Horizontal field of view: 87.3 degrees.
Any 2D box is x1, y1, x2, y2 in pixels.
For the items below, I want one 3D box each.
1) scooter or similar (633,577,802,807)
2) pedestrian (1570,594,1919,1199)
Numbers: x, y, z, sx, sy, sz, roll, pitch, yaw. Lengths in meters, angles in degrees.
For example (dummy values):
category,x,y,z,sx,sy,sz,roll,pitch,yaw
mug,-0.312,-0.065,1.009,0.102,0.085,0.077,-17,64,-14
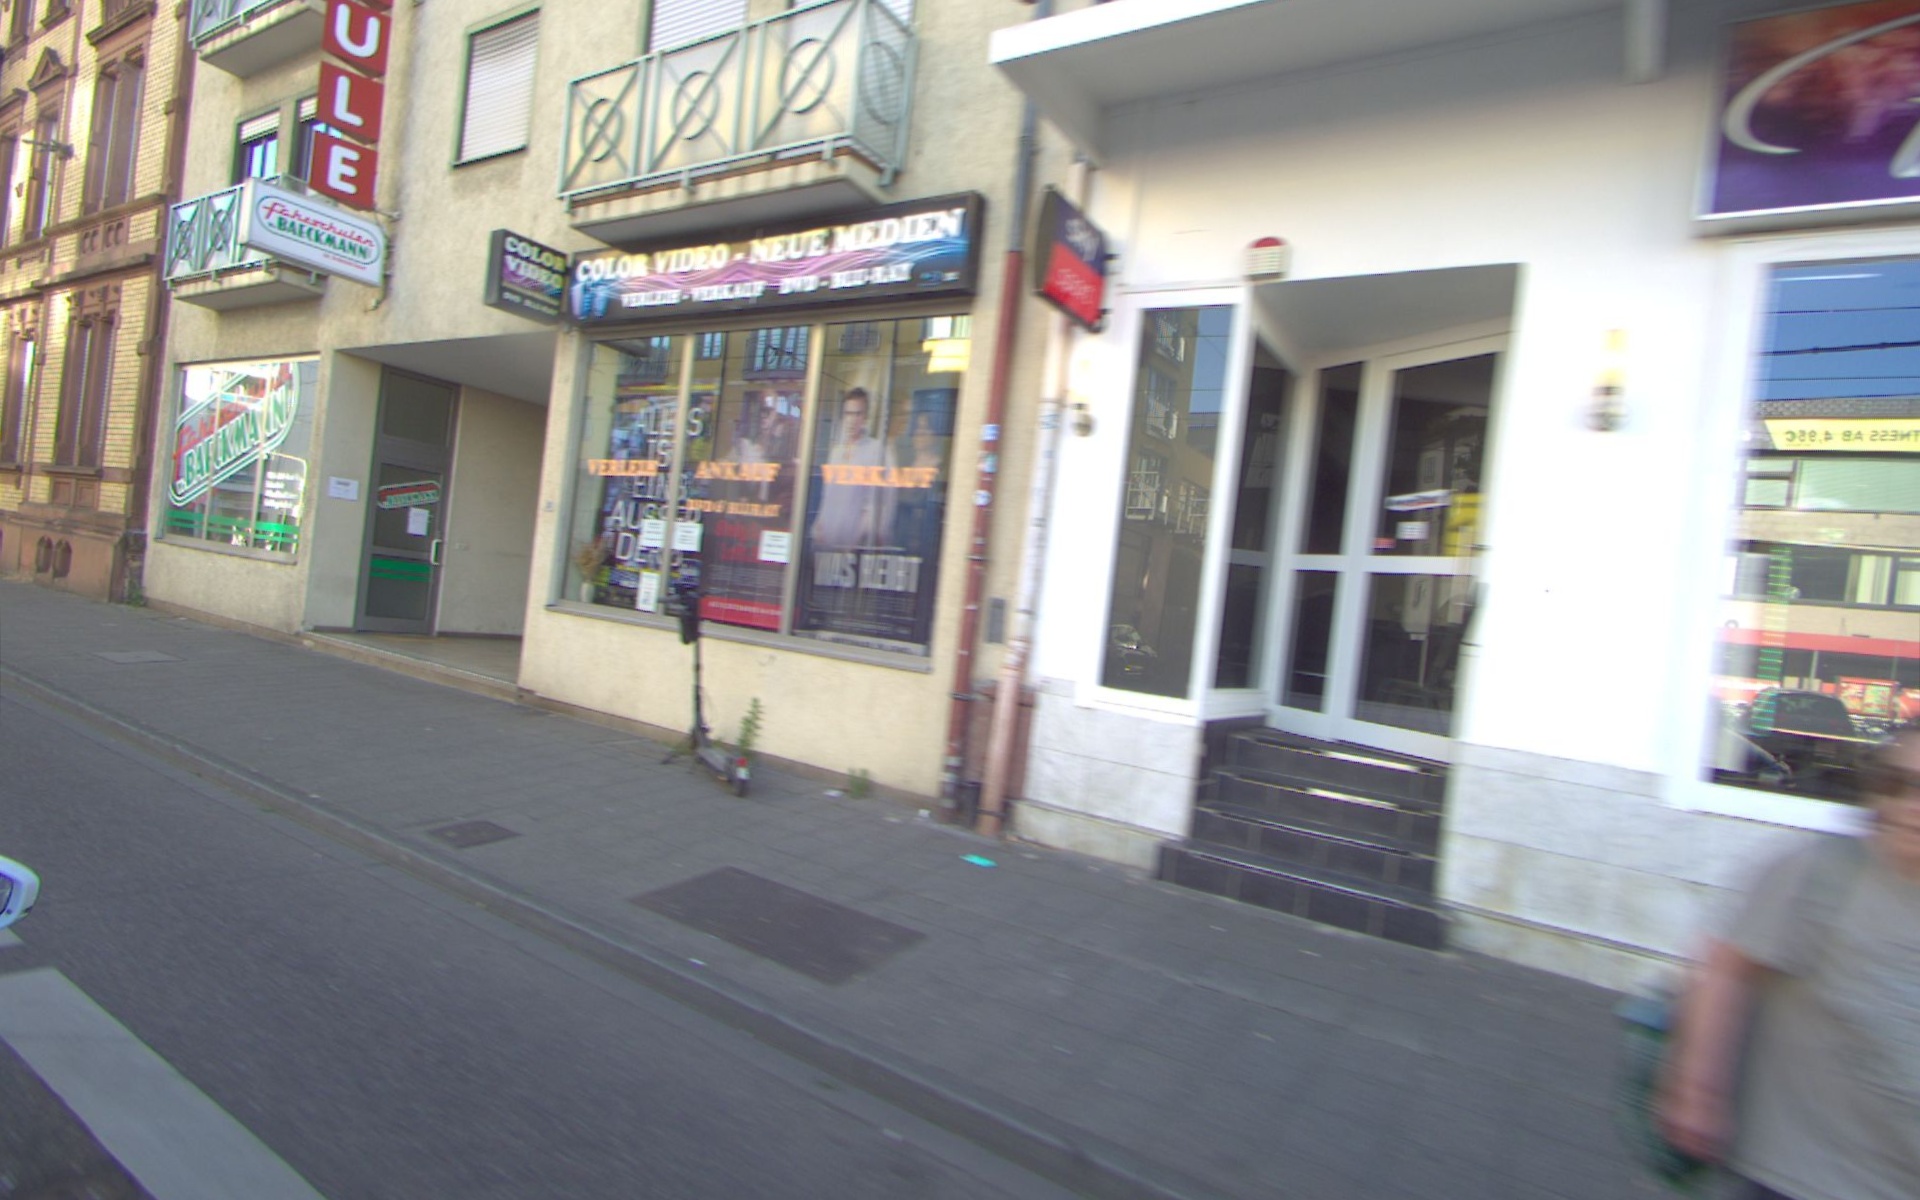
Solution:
category,x,y,z,sx,sy,sz,roll,pitch,yaw
scooter or similar,-1.598,0.548,6.509,0.408,1.297,1.269,6,0,-40
pedestrian,1.576,0.833,1.802,0.639,1.579,0.780,7,0,26
